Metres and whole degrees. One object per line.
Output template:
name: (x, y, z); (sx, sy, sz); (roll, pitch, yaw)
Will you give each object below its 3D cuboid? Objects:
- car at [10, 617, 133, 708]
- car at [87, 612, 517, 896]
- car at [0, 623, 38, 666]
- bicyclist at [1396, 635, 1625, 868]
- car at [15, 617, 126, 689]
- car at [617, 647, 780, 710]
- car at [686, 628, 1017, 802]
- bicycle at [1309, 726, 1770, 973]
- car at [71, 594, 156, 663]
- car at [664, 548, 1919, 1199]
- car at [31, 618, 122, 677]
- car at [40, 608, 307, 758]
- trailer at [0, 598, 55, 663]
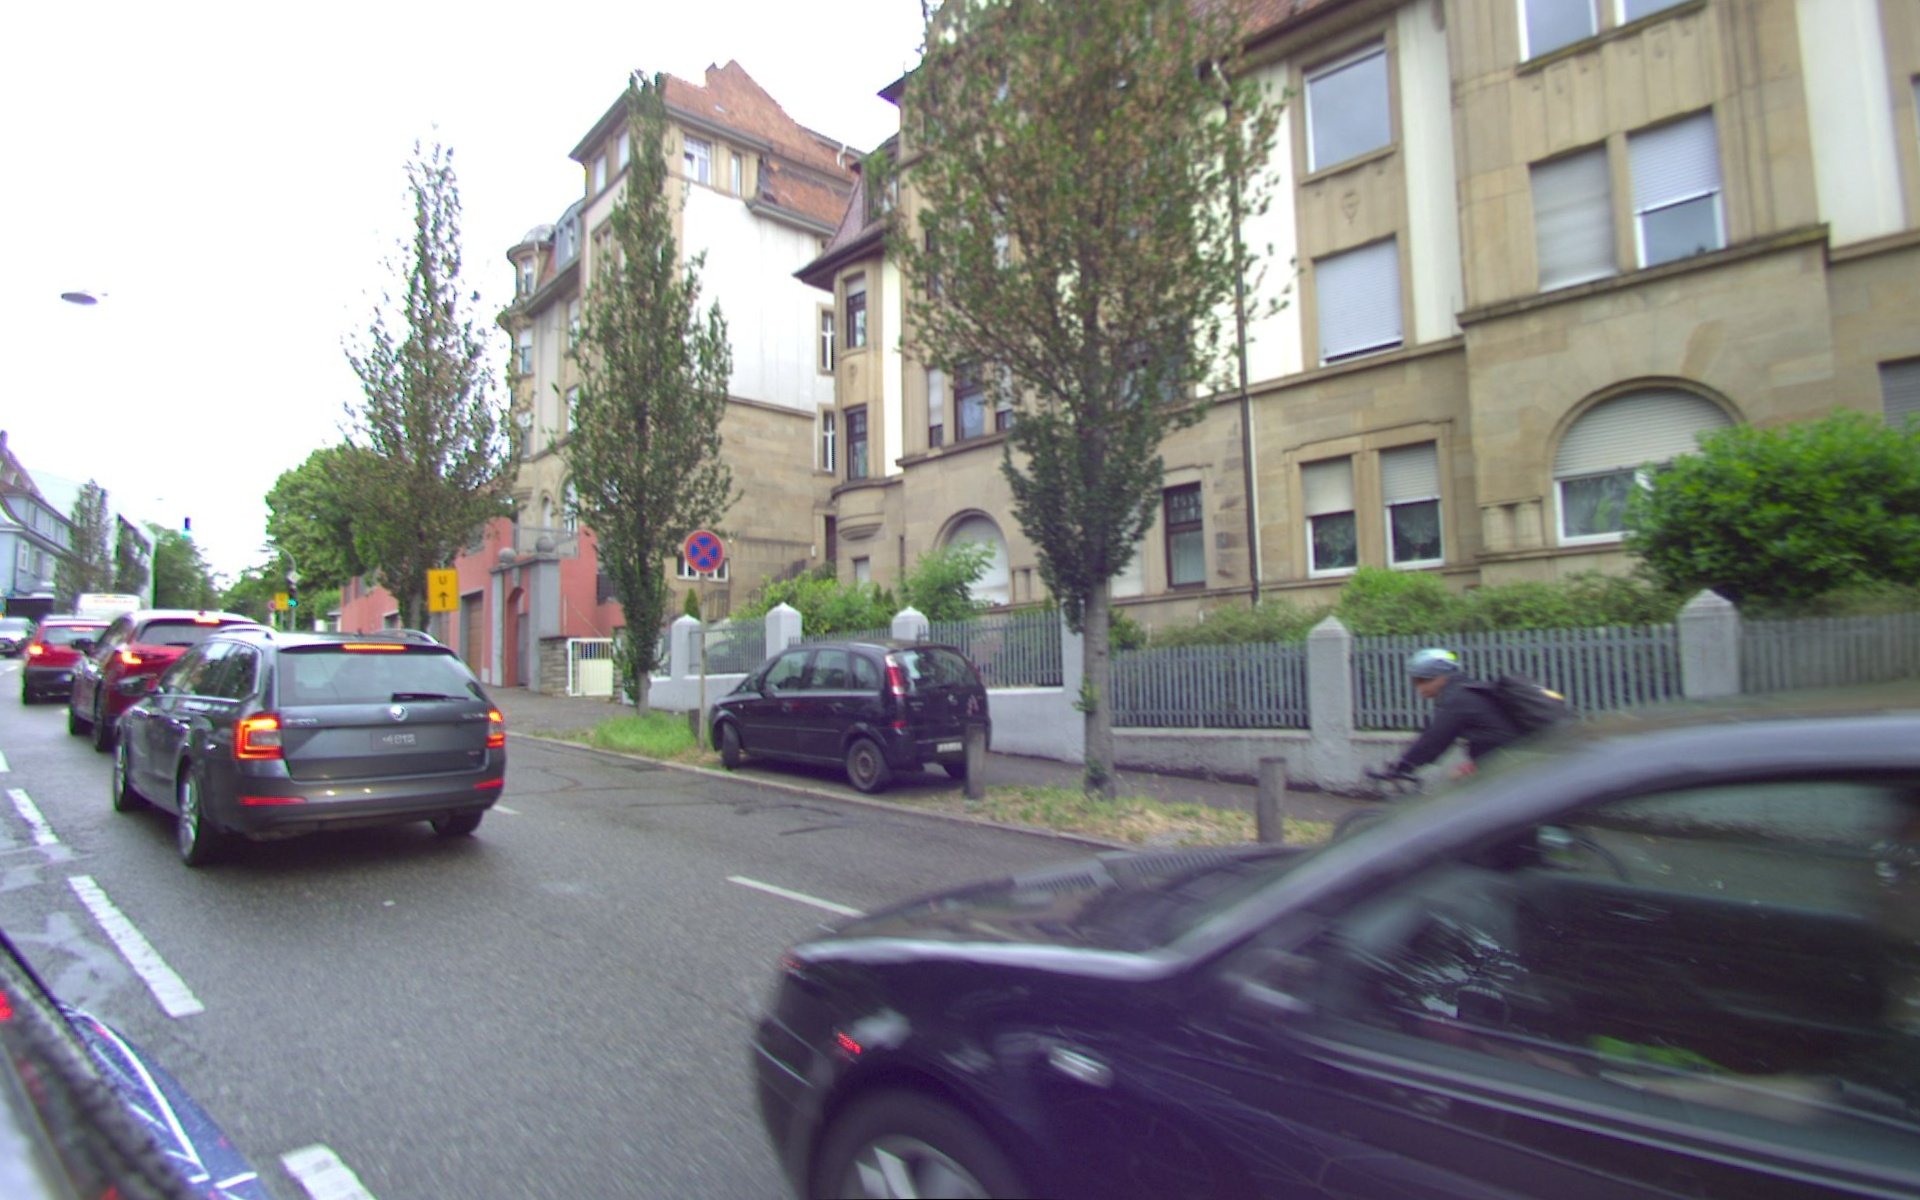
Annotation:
car: (-17.261, 1.117, 19.657); (1.635, 1.580, 4.005); (1, -1, -42)
car: (-5.016, 0.858, 7.437); (4.283, 1.485, 1.718); (-1, -3, 44)
car: (-38.291, 1.757, 40.329); (1.708, 1.631, 3.485); (0, 0, -32)
bicyclist: (3.128, 0.803, 5.794); (1.078, 1.178, 0.765); (-1, -4, 31)
car: (-21.527, 1.239, 24.493); (1.752, 1.508, 4.268); (7, -6, -42)
car: (-6.427, 1.889, 25.096); (1.789, 1.409, 3.512); (-2, -3, 43)
car: (-1.422, 1.204, 12.152); (4.000, 1.624, 1.795); (0, 0, 43)
bicycle: (3.165, 1.310, 5.734); (2.147, 0.990, 0.648); (1, -3, 31)
car: (-34.145, 1.139, 40.966); (2.089, 2.565, 5.553); (1, -2, -35)
car: (1.416, 0.707, 1.576); (3.990, 1.459, 1.644); (0, -2, 40)
car: (-25.918, 1.328, 29.680); (1.852, 1.587, 4.592); (2, -2, -42)
car: (-10.111, 0.963, 12.896); (4.277, 1.596, 1.826); (-1, -4, 41)
trailer: (-40.021, 1.262, 43.084); (1.742, 2.645, 3.041); (-1, 0, -32)
